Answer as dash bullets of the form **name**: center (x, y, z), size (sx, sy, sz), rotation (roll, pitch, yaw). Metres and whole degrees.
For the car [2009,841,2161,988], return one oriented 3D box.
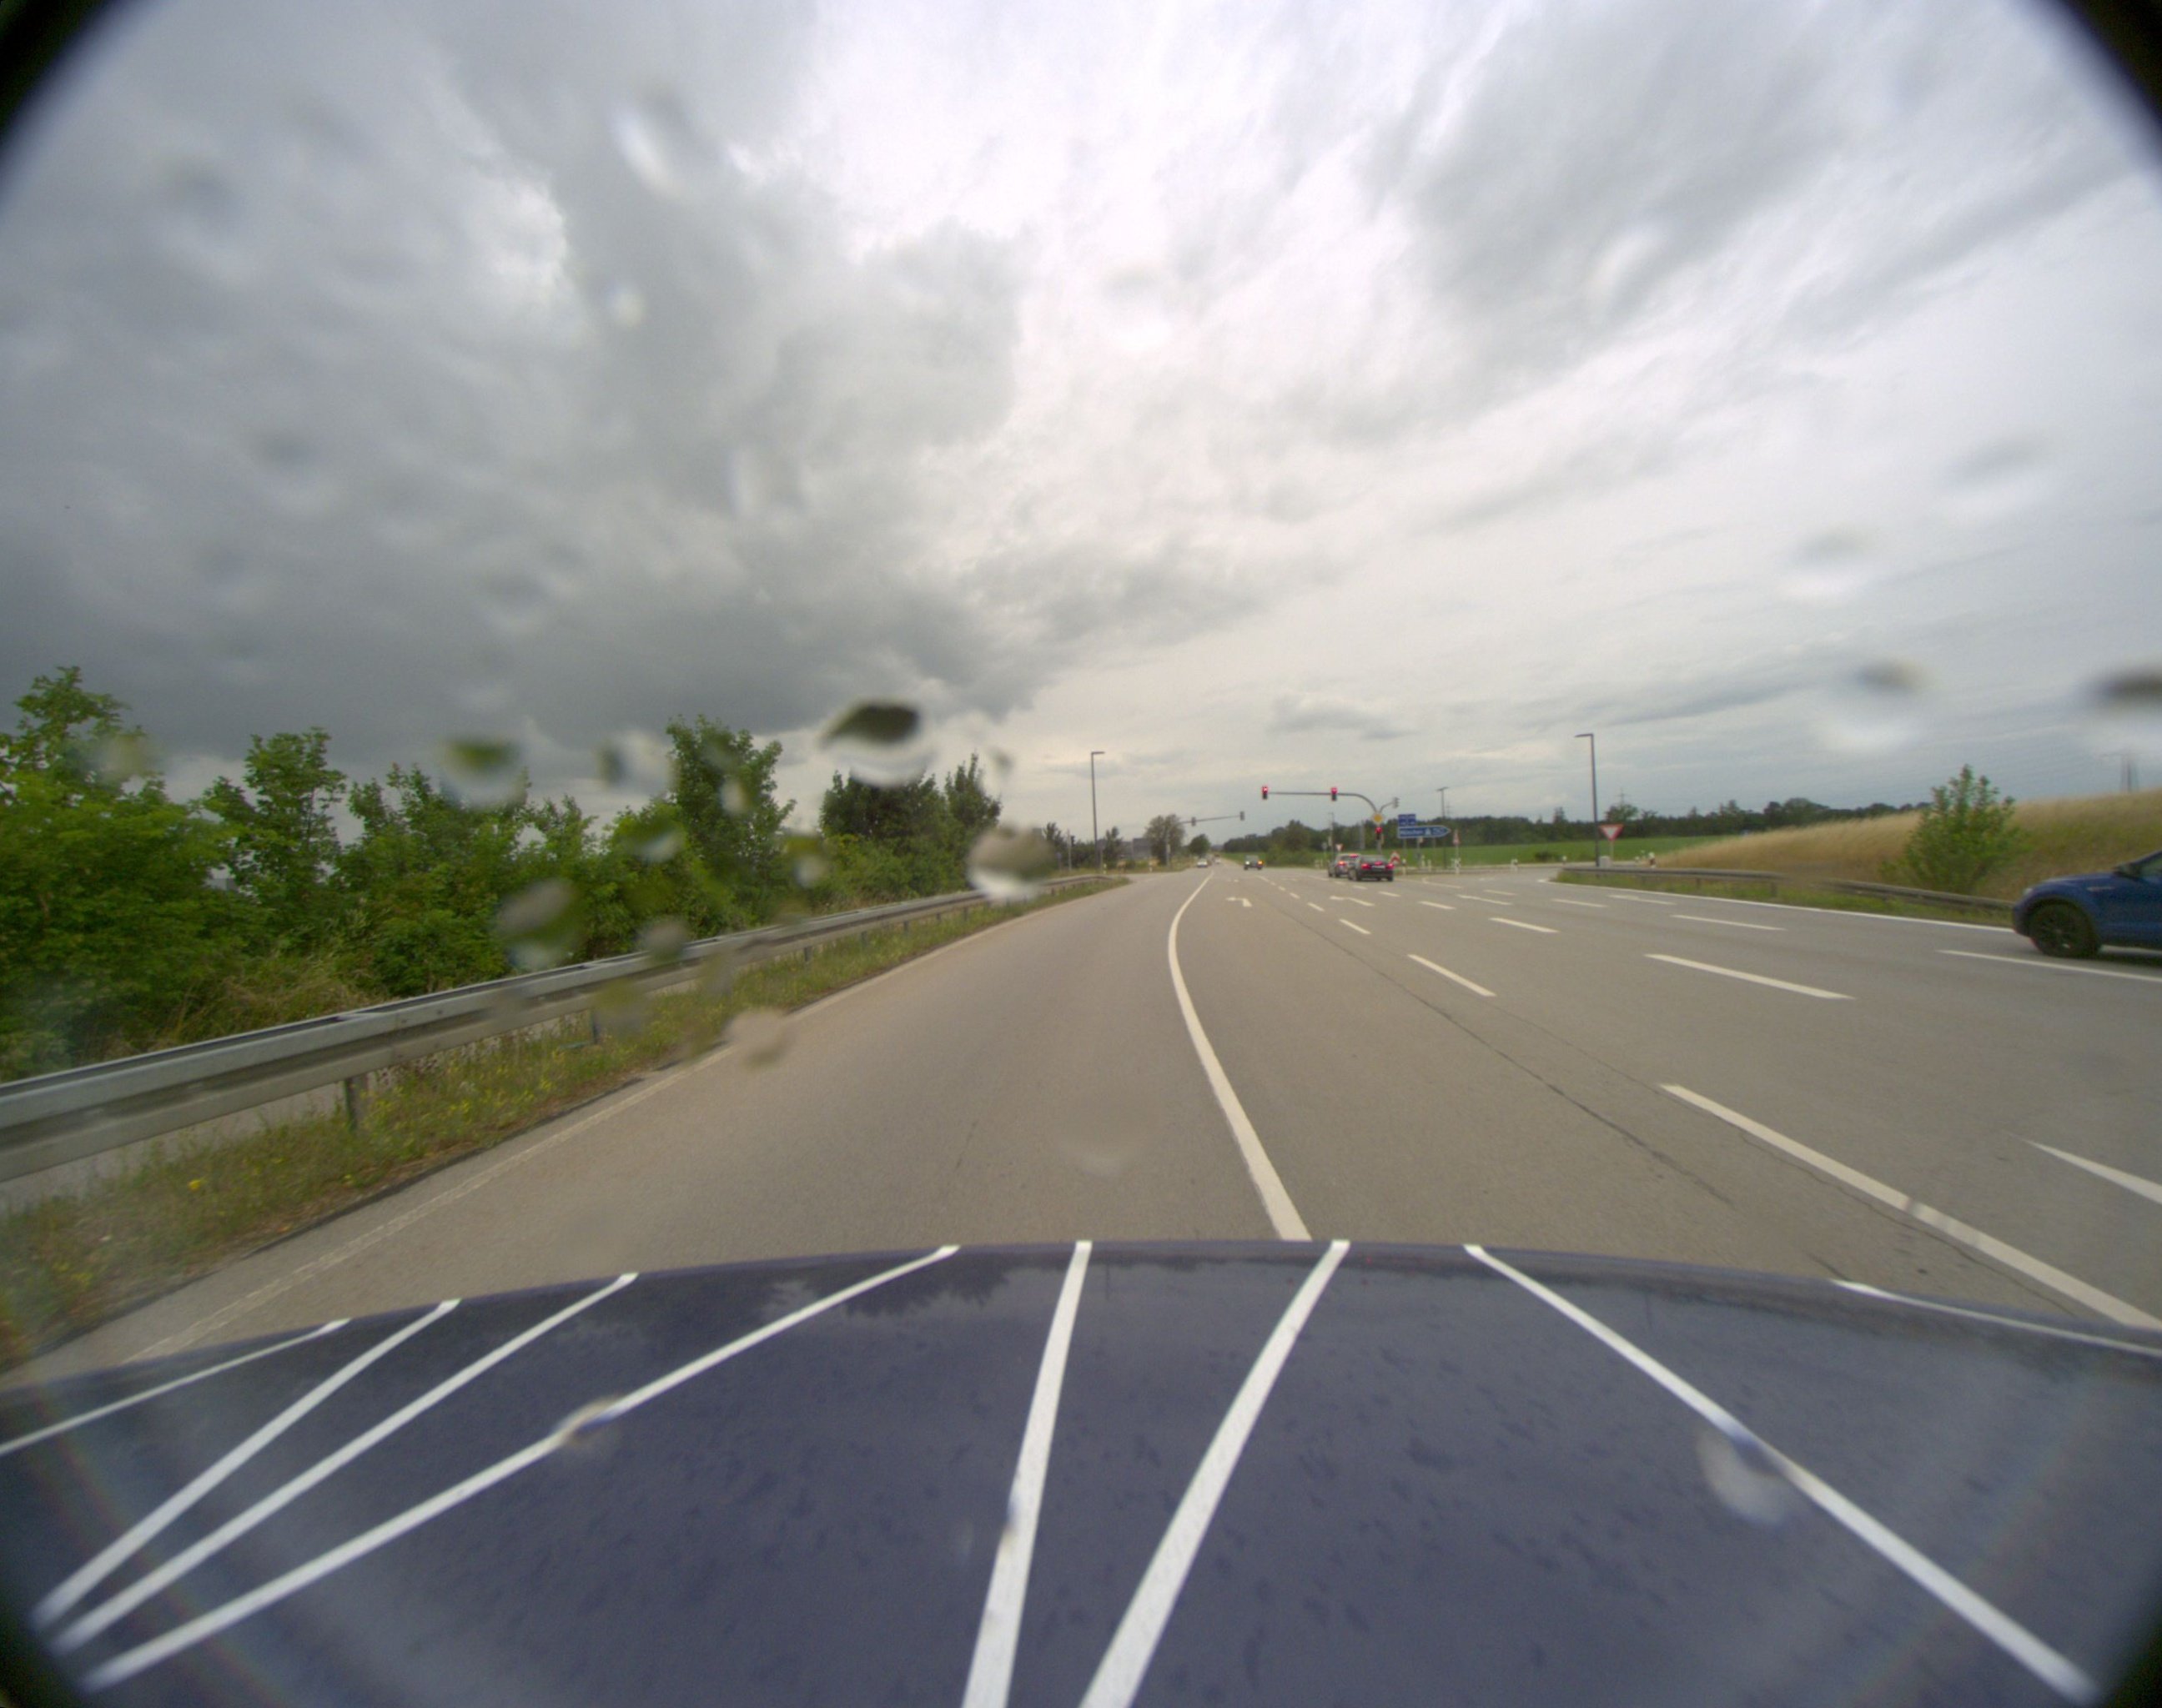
- **car**: center (12.512, 0.656, 7.622), size (1.801, 1.541, 4.002), rotation (-2, 1, 7)

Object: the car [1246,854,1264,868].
- **car**: center (21.598, 0.836, 94.188), size (1.996, 1.674, 5.004), rotation (-2, 0, 15)

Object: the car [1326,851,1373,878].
- **car**: center (16.605, 0.620, 47.262), size (1.918, 1.601, 4.952), rotation (0, 0, 10)

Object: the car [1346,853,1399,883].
- **car**: center (15.320, 0.709, 40.132), size (1.710, 1.402, 4.677), rotation (-2, 1, 10)
